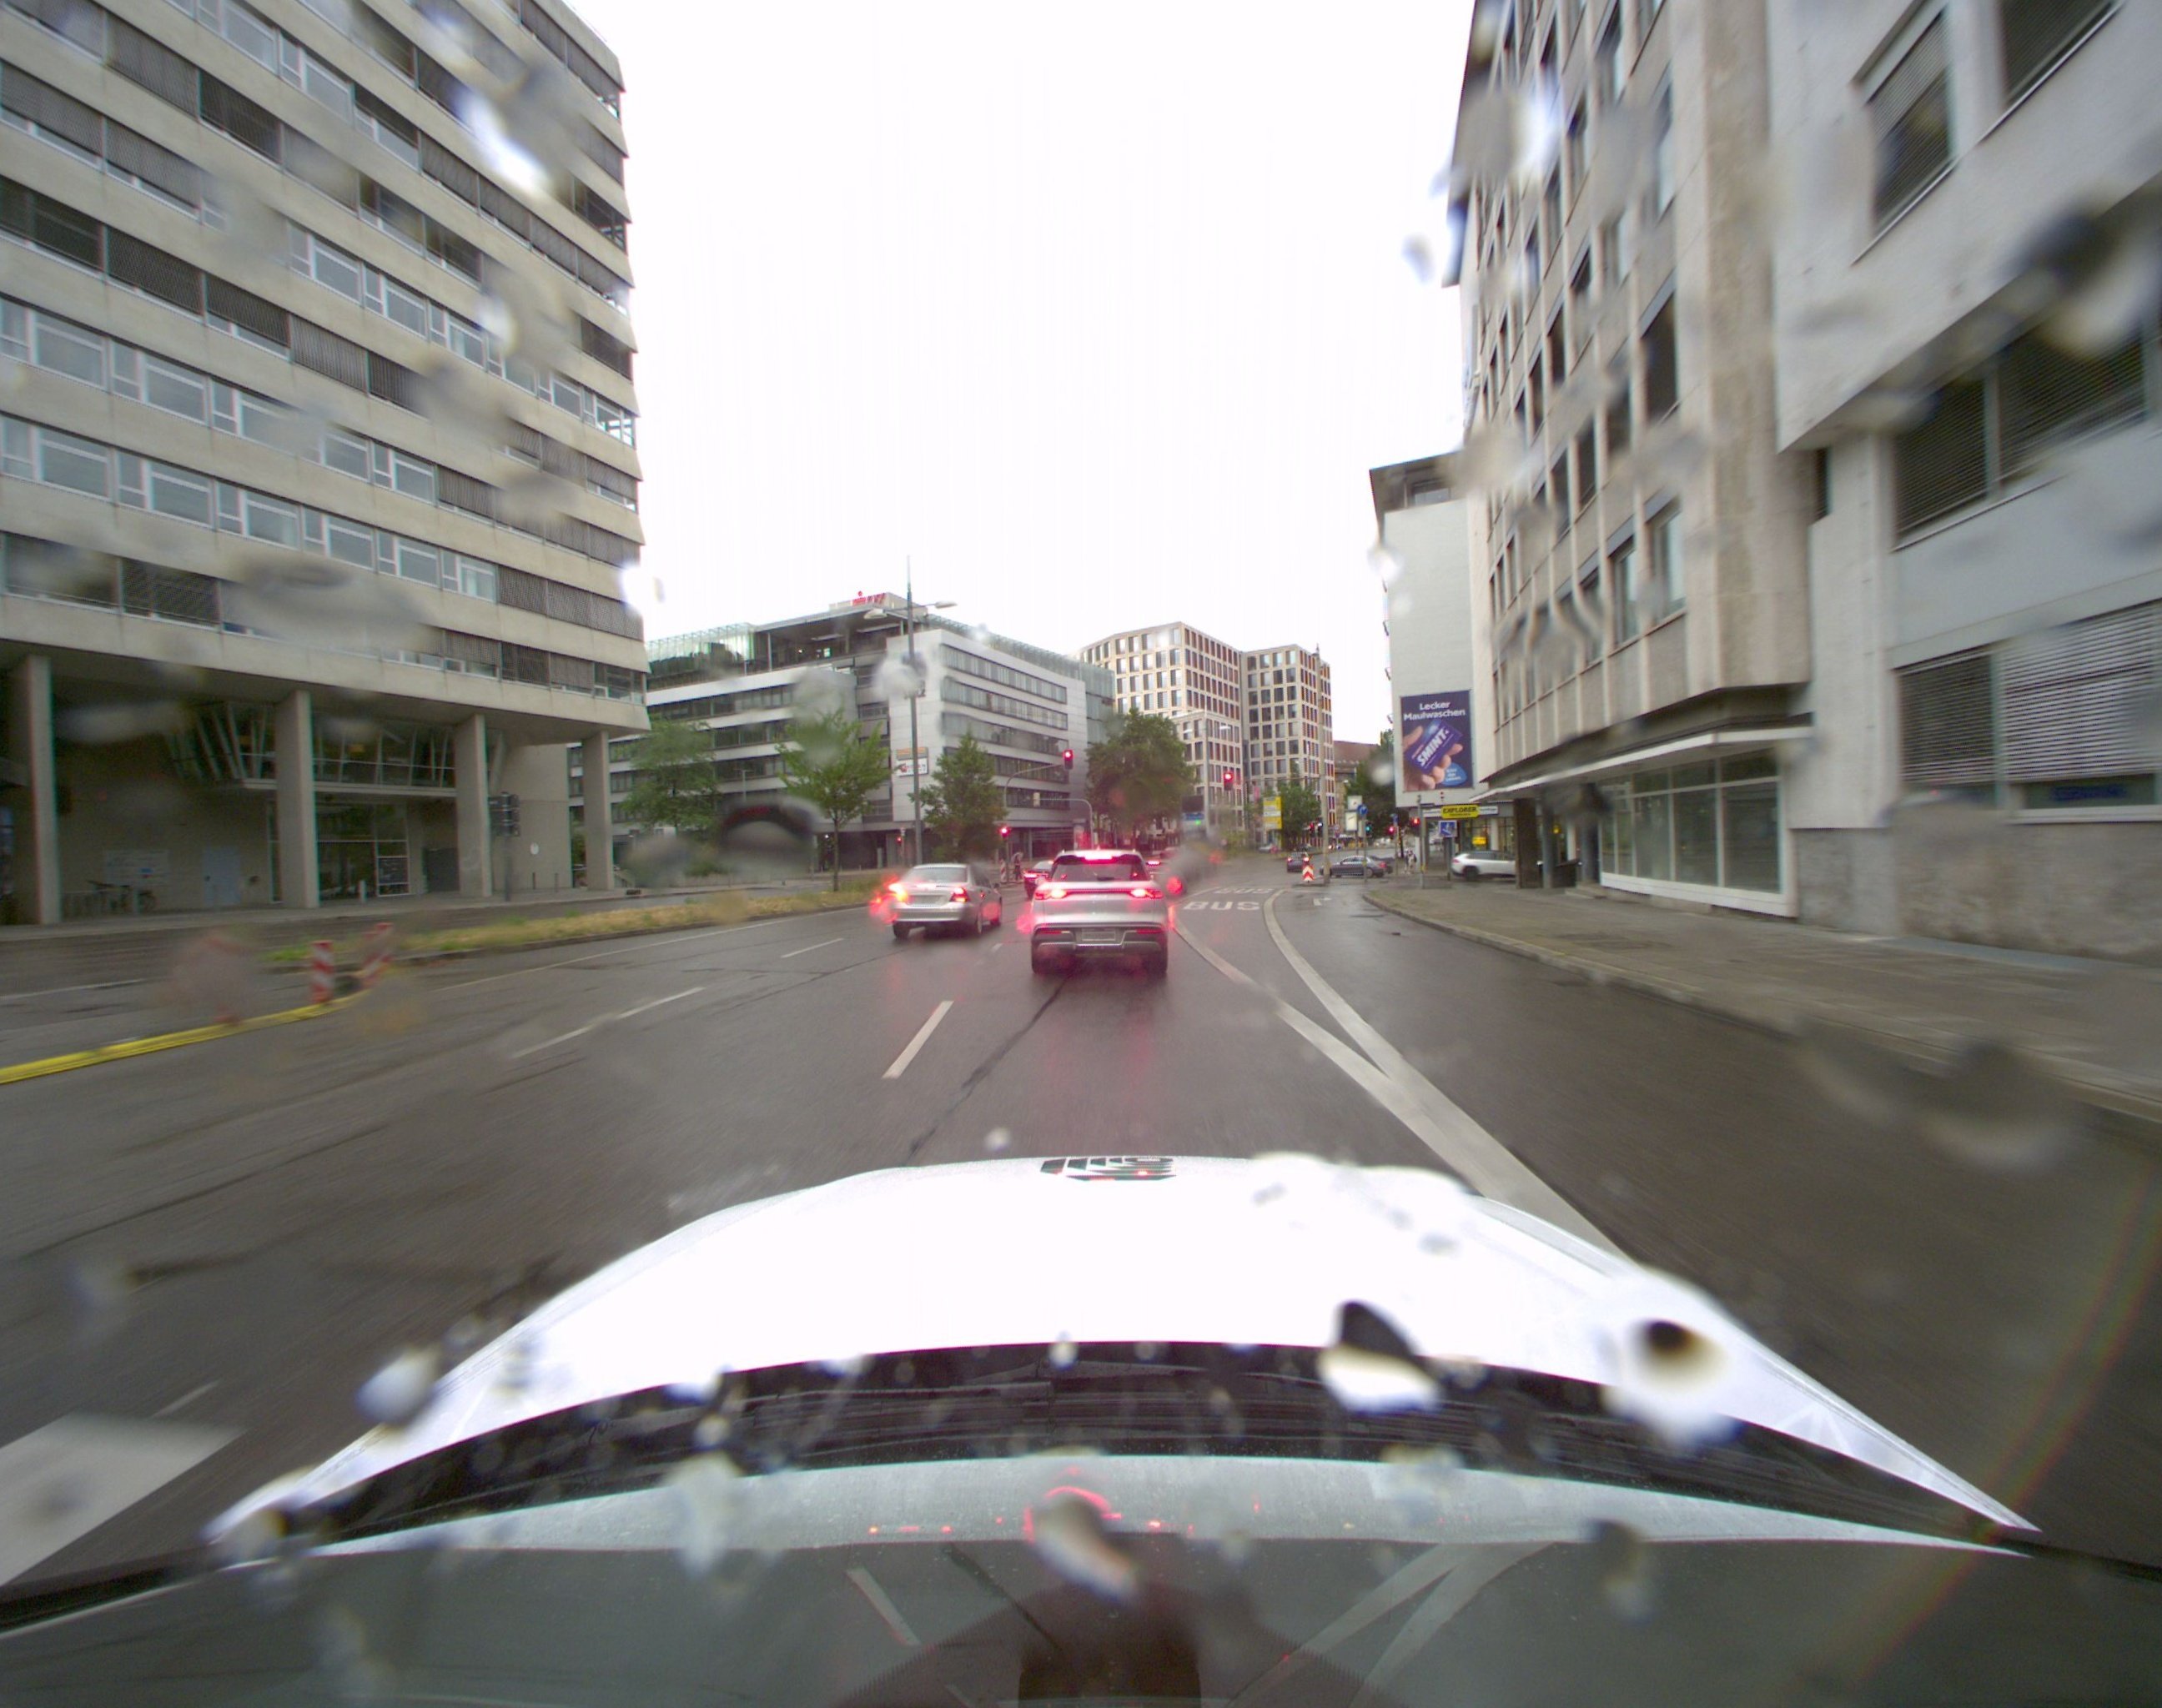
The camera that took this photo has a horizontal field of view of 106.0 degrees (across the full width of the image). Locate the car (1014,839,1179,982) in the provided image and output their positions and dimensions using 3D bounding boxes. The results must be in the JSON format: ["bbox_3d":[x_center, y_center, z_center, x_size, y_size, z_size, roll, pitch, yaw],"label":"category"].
[{"bbox_3d":[0.223,0.690,12.229,1.987,1.709,4.483,-1,0,1],"label":"car"}]

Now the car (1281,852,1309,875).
[{"bbox_3d":[17.109,0.732,64.890,2.031,1.765,4.375,0,0,16],"label":"car"}]

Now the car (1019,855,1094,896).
[{"bbox_3d":[-0.910,0.819,32.949,1.940,1.530,4.016,-1,0,15],"label":"car"}]

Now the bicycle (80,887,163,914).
[{"bbox_3d":[-32.595,1.566,27.693,0.450,0.812,1.783,-1,0,22],"label":"bicycle"}]

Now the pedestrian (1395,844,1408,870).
[{"bbox_3d":[21.105,0.187,53.633,0.721,1.668,0.694,-1,-1,19],"label":"pedestrian"}]

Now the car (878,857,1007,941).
[{"bbox_3d":[-2.737,0.839,17.052,1.675,1.486,4.201,-1,0,4],"label":"car"}]

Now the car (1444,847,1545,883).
[{"bbox_3d":[21.757,0.573,42.889,4.472,1.750,2.013,-1,0,34],"label":"car"}]

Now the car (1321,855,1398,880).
[{"bbox_3d":[17.813,0.827,52.219,4.301,1.510,1.928,0,1,41],"label":"car"}]

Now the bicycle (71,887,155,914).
[{"bbox_3d":[-33.138,1.572,27.911,0.450,0.812,1.783,-1,0,22],"label":"bicycle"}]

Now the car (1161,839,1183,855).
[{"bbox_3d":[12.026,-0.914,107.434,1.722,2.161,4.518,0,0,22],"label":"car"}]

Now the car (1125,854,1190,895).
[{"bbox_3d":[3.179,0.780,33.190,1.940,1.530,4.016,-1,0,15],"label":"car"}]

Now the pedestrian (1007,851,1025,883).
[{"bbox_3d":[-3.606,0.705,45.545,0.919,1.738,0.729,-1,0,-1],"label":"pedestrian"}]

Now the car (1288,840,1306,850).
[{"bbox_3d":[40.760,-1.693,153.649,1.974,1.705,4.336,0,2,31],"label":"car"}]

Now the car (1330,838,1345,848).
[{"bbox_3d":[50.915,-2.209,161.662,1.974,1.705,4.026,0,2,31],"label":"car"}]

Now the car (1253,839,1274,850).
[{"bbox_3d":[30.380,-1.575,135.477,1.974,1.705,4.336,0,2,31],"label":"car"}]

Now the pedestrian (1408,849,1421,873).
[{"bbox_3d":[21.831,0.445,53.379,0.721,1.524,0.763,-1,-1,20],"label":"pedestrian"}]
